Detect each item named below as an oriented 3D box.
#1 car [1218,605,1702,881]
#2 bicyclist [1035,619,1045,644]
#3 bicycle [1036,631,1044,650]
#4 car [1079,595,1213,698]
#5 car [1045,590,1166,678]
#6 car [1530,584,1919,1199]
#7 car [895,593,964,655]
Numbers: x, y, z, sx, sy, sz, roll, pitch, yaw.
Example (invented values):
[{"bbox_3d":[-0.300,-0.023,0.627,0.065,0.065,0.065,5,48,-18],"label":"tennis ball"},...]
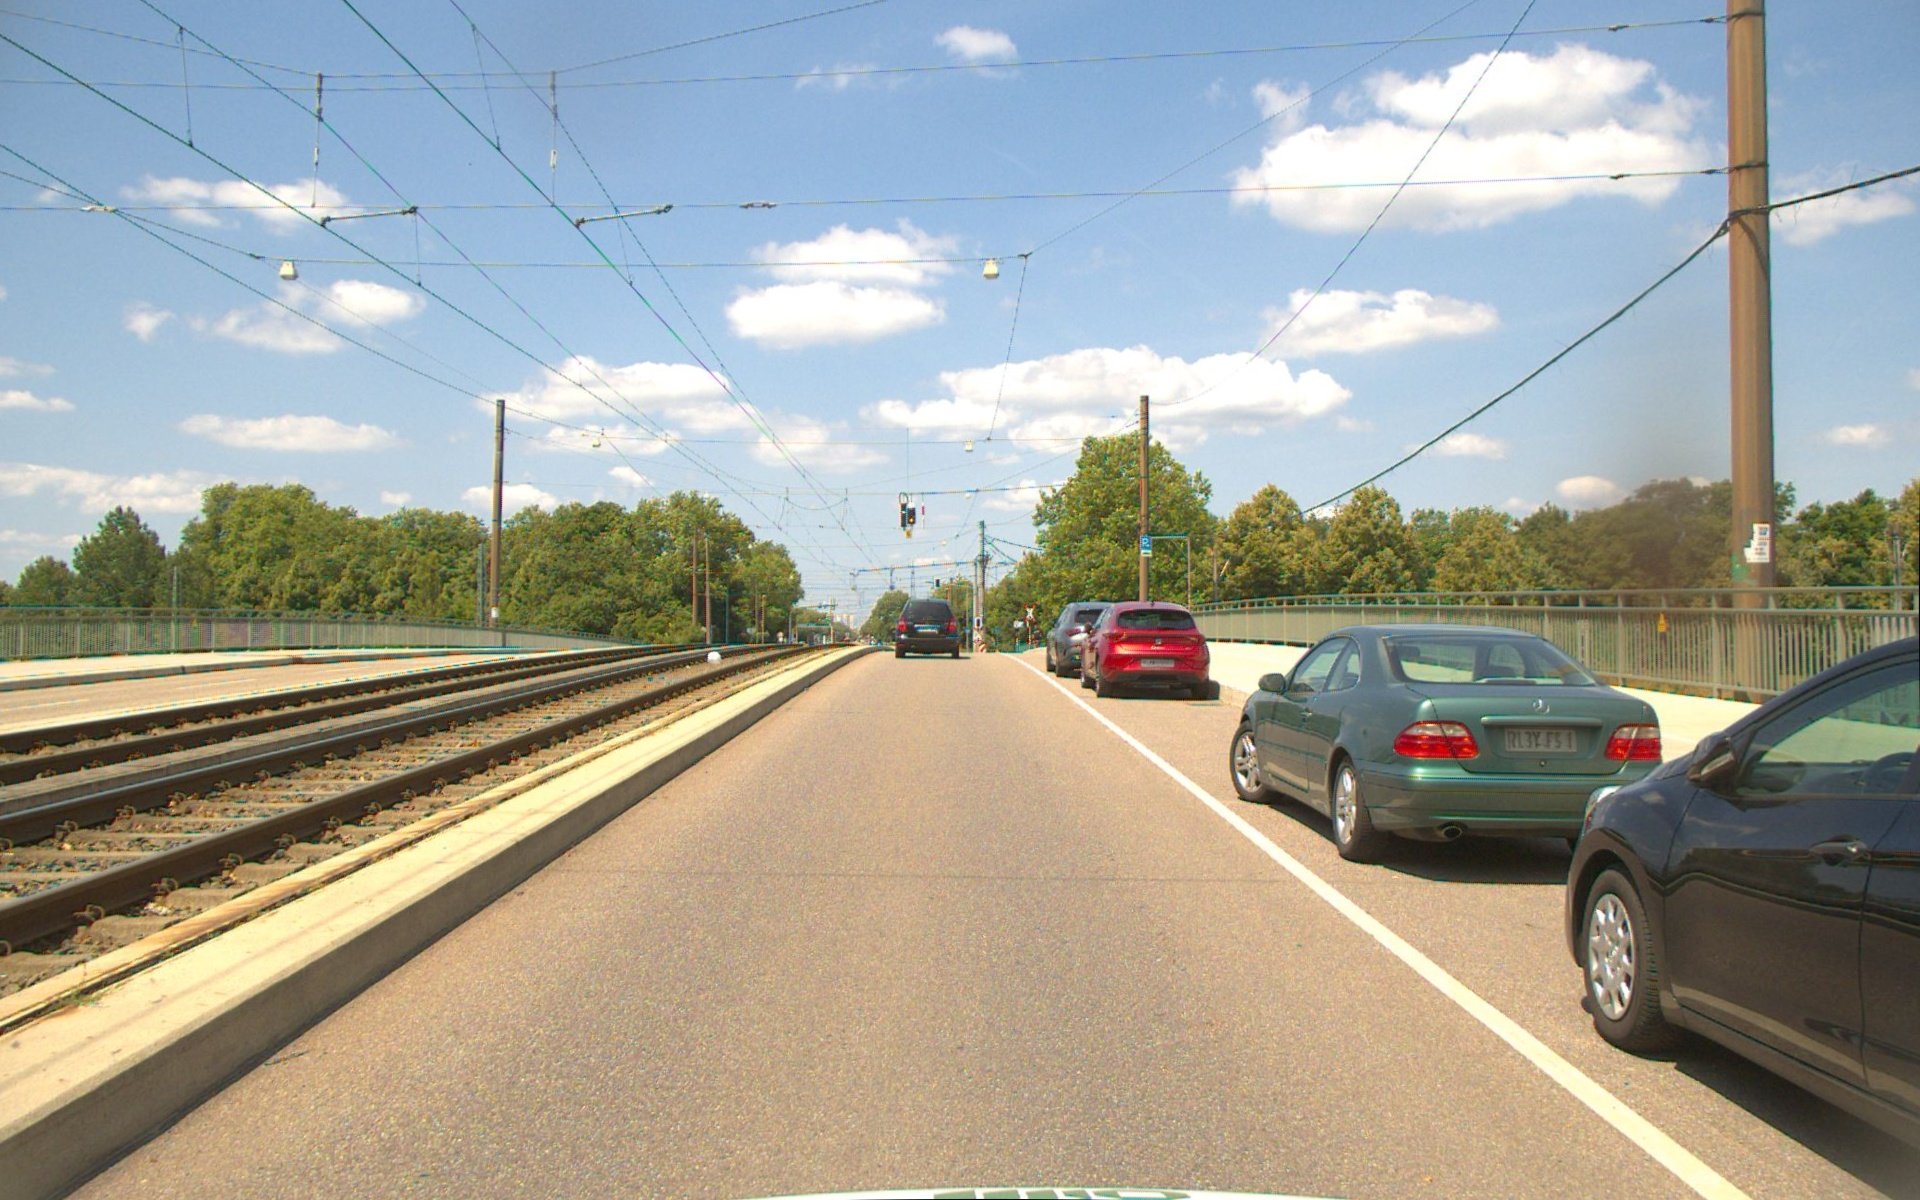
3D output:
[{"bbox_3d":[3.012,0.767,11.052,1.651,1.382,4.590,1,0,-3],"label":"car"},{"bbox_3d":[5.038,1.975,103.791,0.573,1.521,0.558,1,-1,0],"label":"bicyclist"},{"bbox_3d":[5.031,2.527,103.746,0.423,1.172,1.855,1,0,1],"label":"bicycle"},{"bbox_3d":[2.926,0.688,26.793,1.613,1.485,4.285,1,0,-1],"label":"car"},{"bbox_3d":[2.823,0.618,33.073,1.953,1.579,4.721,1,0,-1],"label":"car"},{"bbox_3d":[3.100,0.709,4.339,1.602,1.479,4.387,1,0,-1],"label":"car"},{"bbox_3d":[-0.832,0.617,45.650,1.815,1.597,4.387,1,0,-1],"label":"car"}]
